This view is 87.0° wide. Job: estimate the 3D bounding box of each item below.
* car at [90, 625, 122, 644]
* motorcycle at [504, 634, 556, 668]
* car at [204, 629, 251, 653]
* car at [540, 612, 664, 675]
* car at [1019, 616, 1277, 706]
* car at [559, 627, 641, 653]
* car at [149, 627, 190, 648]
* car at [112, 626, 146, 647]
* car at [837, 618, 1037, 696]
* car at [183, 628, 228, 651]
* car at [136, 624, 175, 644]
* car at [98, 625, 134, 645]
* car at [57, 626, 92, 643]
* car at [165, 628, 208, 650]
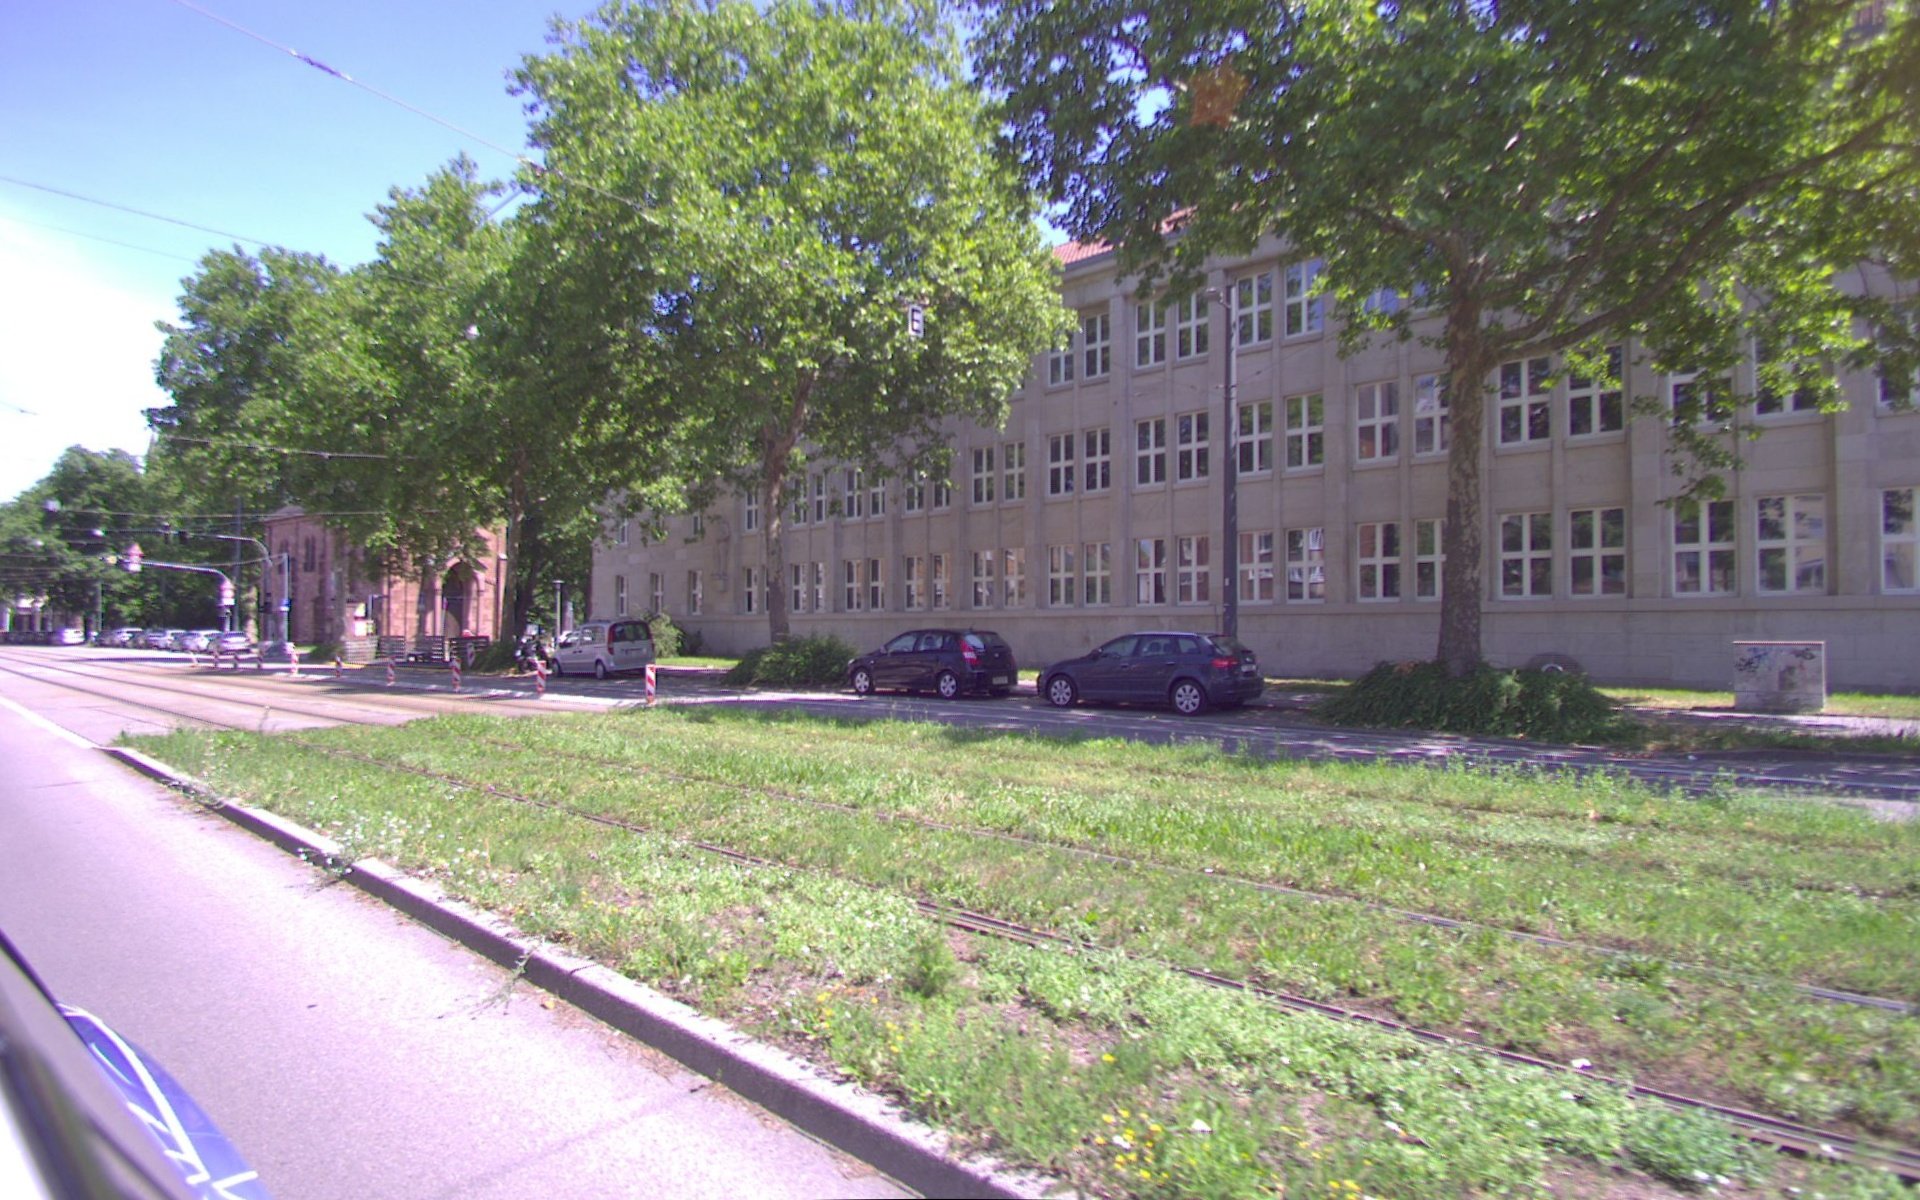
[{"bbox_3d":[-79.329,3.222,93.994,3.731,1.704,1.801,-2,-1,42],"label":"car"},{"bbox_3d":[-14.881,1.756,35.052,0.719,1.076,1.866,-1,0,11],"label":"motorcycle"},{"bbox_3d":[-46.518,2.585,64.239,4.220,1.470,1.640,-2,-1,42],"label":"car"},{"bbox_3d":[-11.352,1.333,31.922,4.302,1.824,1.971,-2,-1,44],"label":"car"},{"bbox_3d":[3.288,1.032,18.203,4.318,1.434,1.572,-1,-1,39],"label":"car"},{"bbox_3d":[-22.432,2.503,63.155,4.481,1.520,1.911,-1,-1,8],"label":"car"},{"bbox_3d":[-58.157,2.749,74.411,3.751,1.470,1.725,-2,-1,41],"label":"car"},{"bbox_3d":[-69.948,3.043,85.215,3.905,1.665,1.724,-2,-1,43],"label":"car"},{"bbox_3d":[-0.585,1.167,21.842,4.323,1.494,1.743,-2,-1,43],"label":"car"},{"bbox_3d":[-50.409,2.604,67.582,4.058,1.470,1.640,-2,-1,42],"label":"car"},{"bbox_3d":[-62.047,2.615,78.051,3.751,1.535,1.725,-2,-1,41],"label":"car"},{"bbox_3d":[-75.406,3.136,90.393,3.999,1.730,1.972,-2,-1,42],"label":"car"},{"bbox_3d":[-87.239,3.417,99.659,3.996,1.575,1.953,-1,-1,39],"label":"car"},{"bbox_3d":[-54.176,2.732,70.839,4.056,1.470,1.641,-2,-1,41],"label":"car"}]
